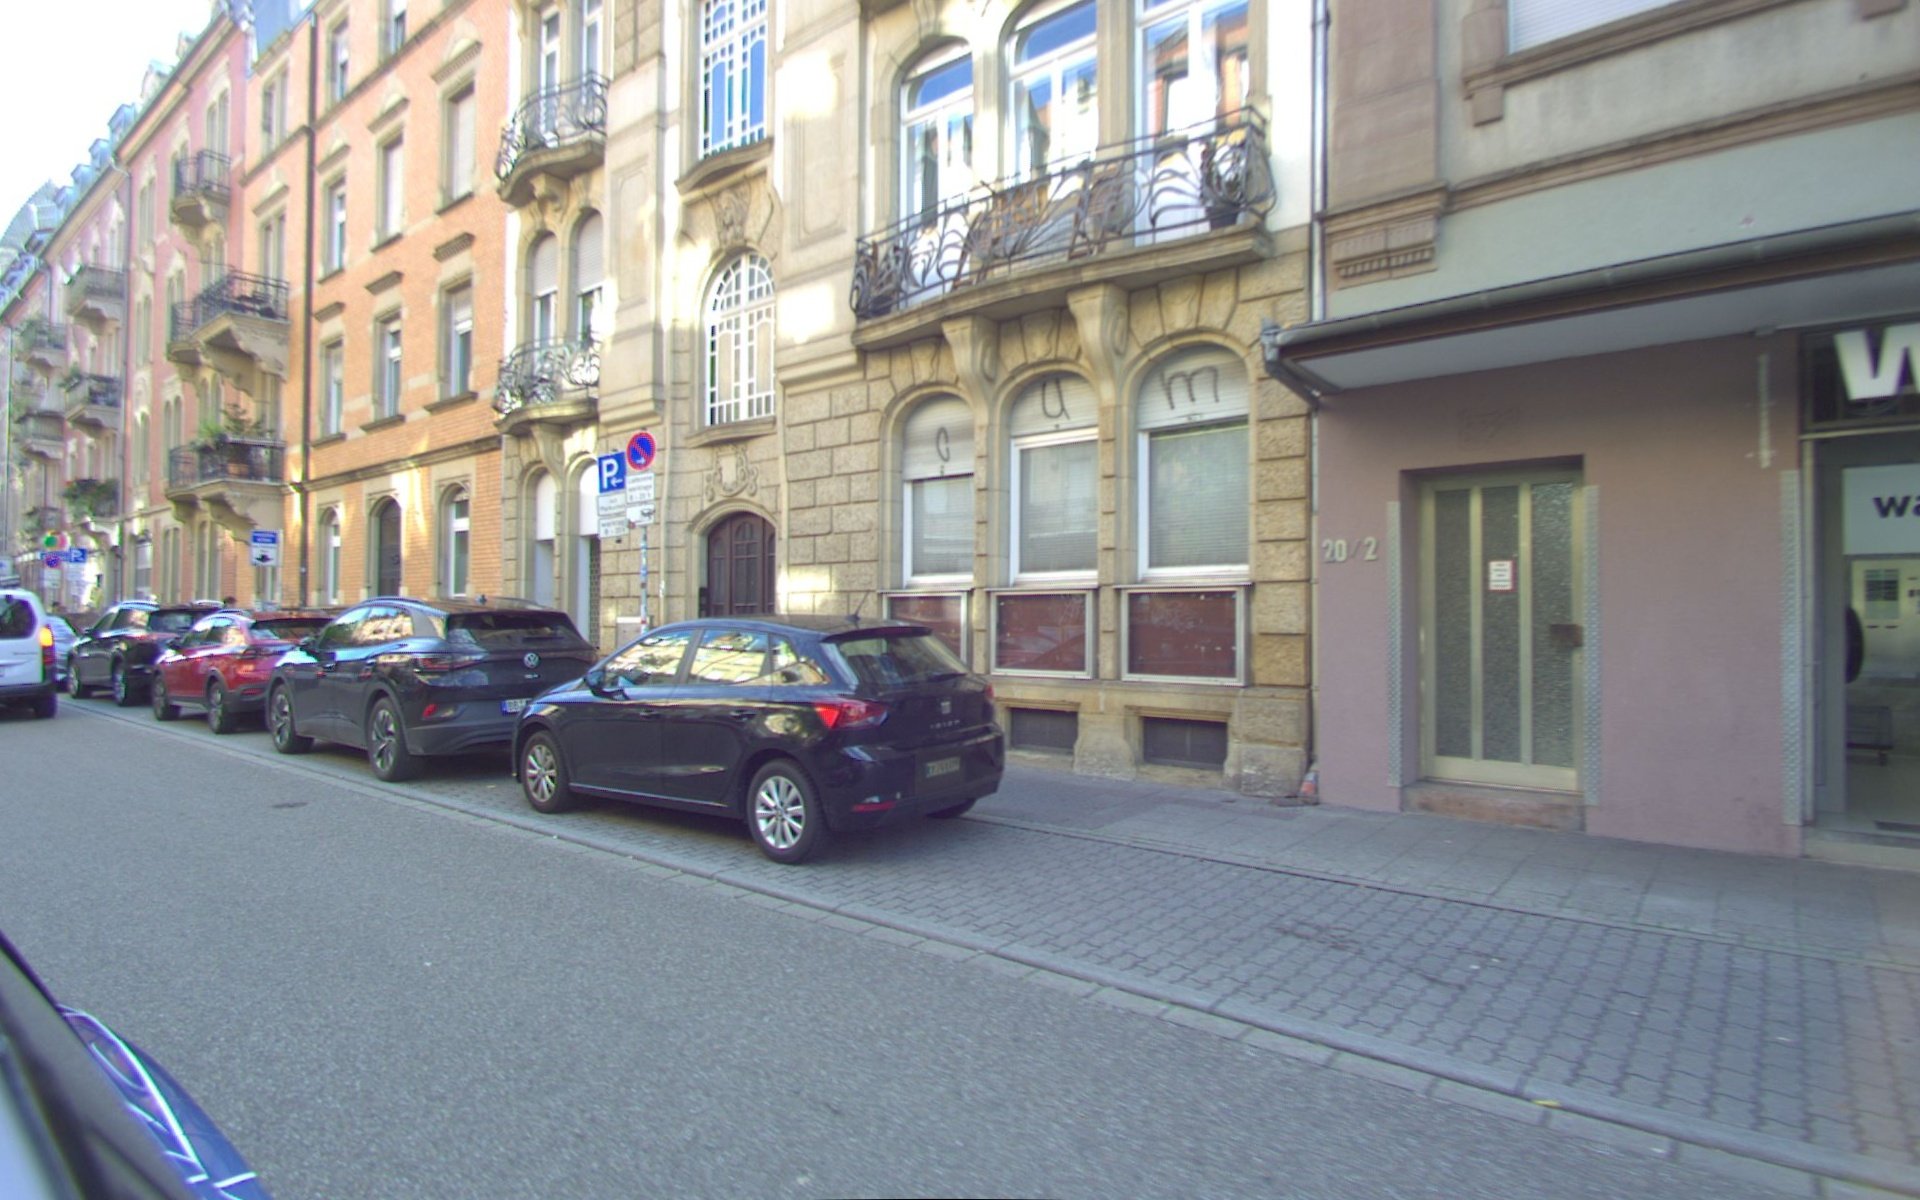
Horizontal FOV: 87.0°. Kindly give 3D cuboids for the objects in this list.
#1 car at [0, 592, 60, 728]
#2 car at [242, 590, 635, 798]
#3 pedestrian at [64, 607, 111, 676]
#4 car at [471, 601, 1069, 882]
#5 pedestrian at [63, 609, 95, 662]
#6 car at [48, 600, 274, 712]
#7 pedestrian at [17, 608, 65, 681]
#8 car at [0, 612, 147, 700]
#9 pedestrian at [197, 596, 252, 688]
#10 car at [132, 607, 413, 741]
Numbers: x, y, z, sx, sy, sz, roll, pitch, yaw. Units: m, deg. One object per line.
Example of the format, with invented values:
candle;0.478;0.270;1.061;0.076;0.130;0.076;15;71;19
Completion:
car;-14.836;0.839;14.896;4.437;1.842;1.897;-1;-1;42
car;-5.430;0.782;10.213;4.843;1.641;1.772;-1;-2;40
pedestrian;-21.434;1.010;24.865;0.545;1.674;0.679;-1;-1;9
car;-1.531;0.783;7.287;4.240;1.431;1.974;-1;-2;39
pedestrian;-28.679;1.143;32.947;0.763;1.709;0.657;-1;-1;39
car;-13.916;0.905;17.526;4.884;1.693;1.856;-2;-1;36
pedestrian;-22.042;1.053;24.274;0.659;1.722;0.565;-1;-1;5
car;-18.610;1.065;20.710;5.253;1.590;1.809;-1;-1;36
pedestrian;-14.980;0.843;20.600;0.863;1.822;0.748;-1;-1;43
car;-9.504;0.898;13.866;4.422;1.556;1.974;-1;-2;39
